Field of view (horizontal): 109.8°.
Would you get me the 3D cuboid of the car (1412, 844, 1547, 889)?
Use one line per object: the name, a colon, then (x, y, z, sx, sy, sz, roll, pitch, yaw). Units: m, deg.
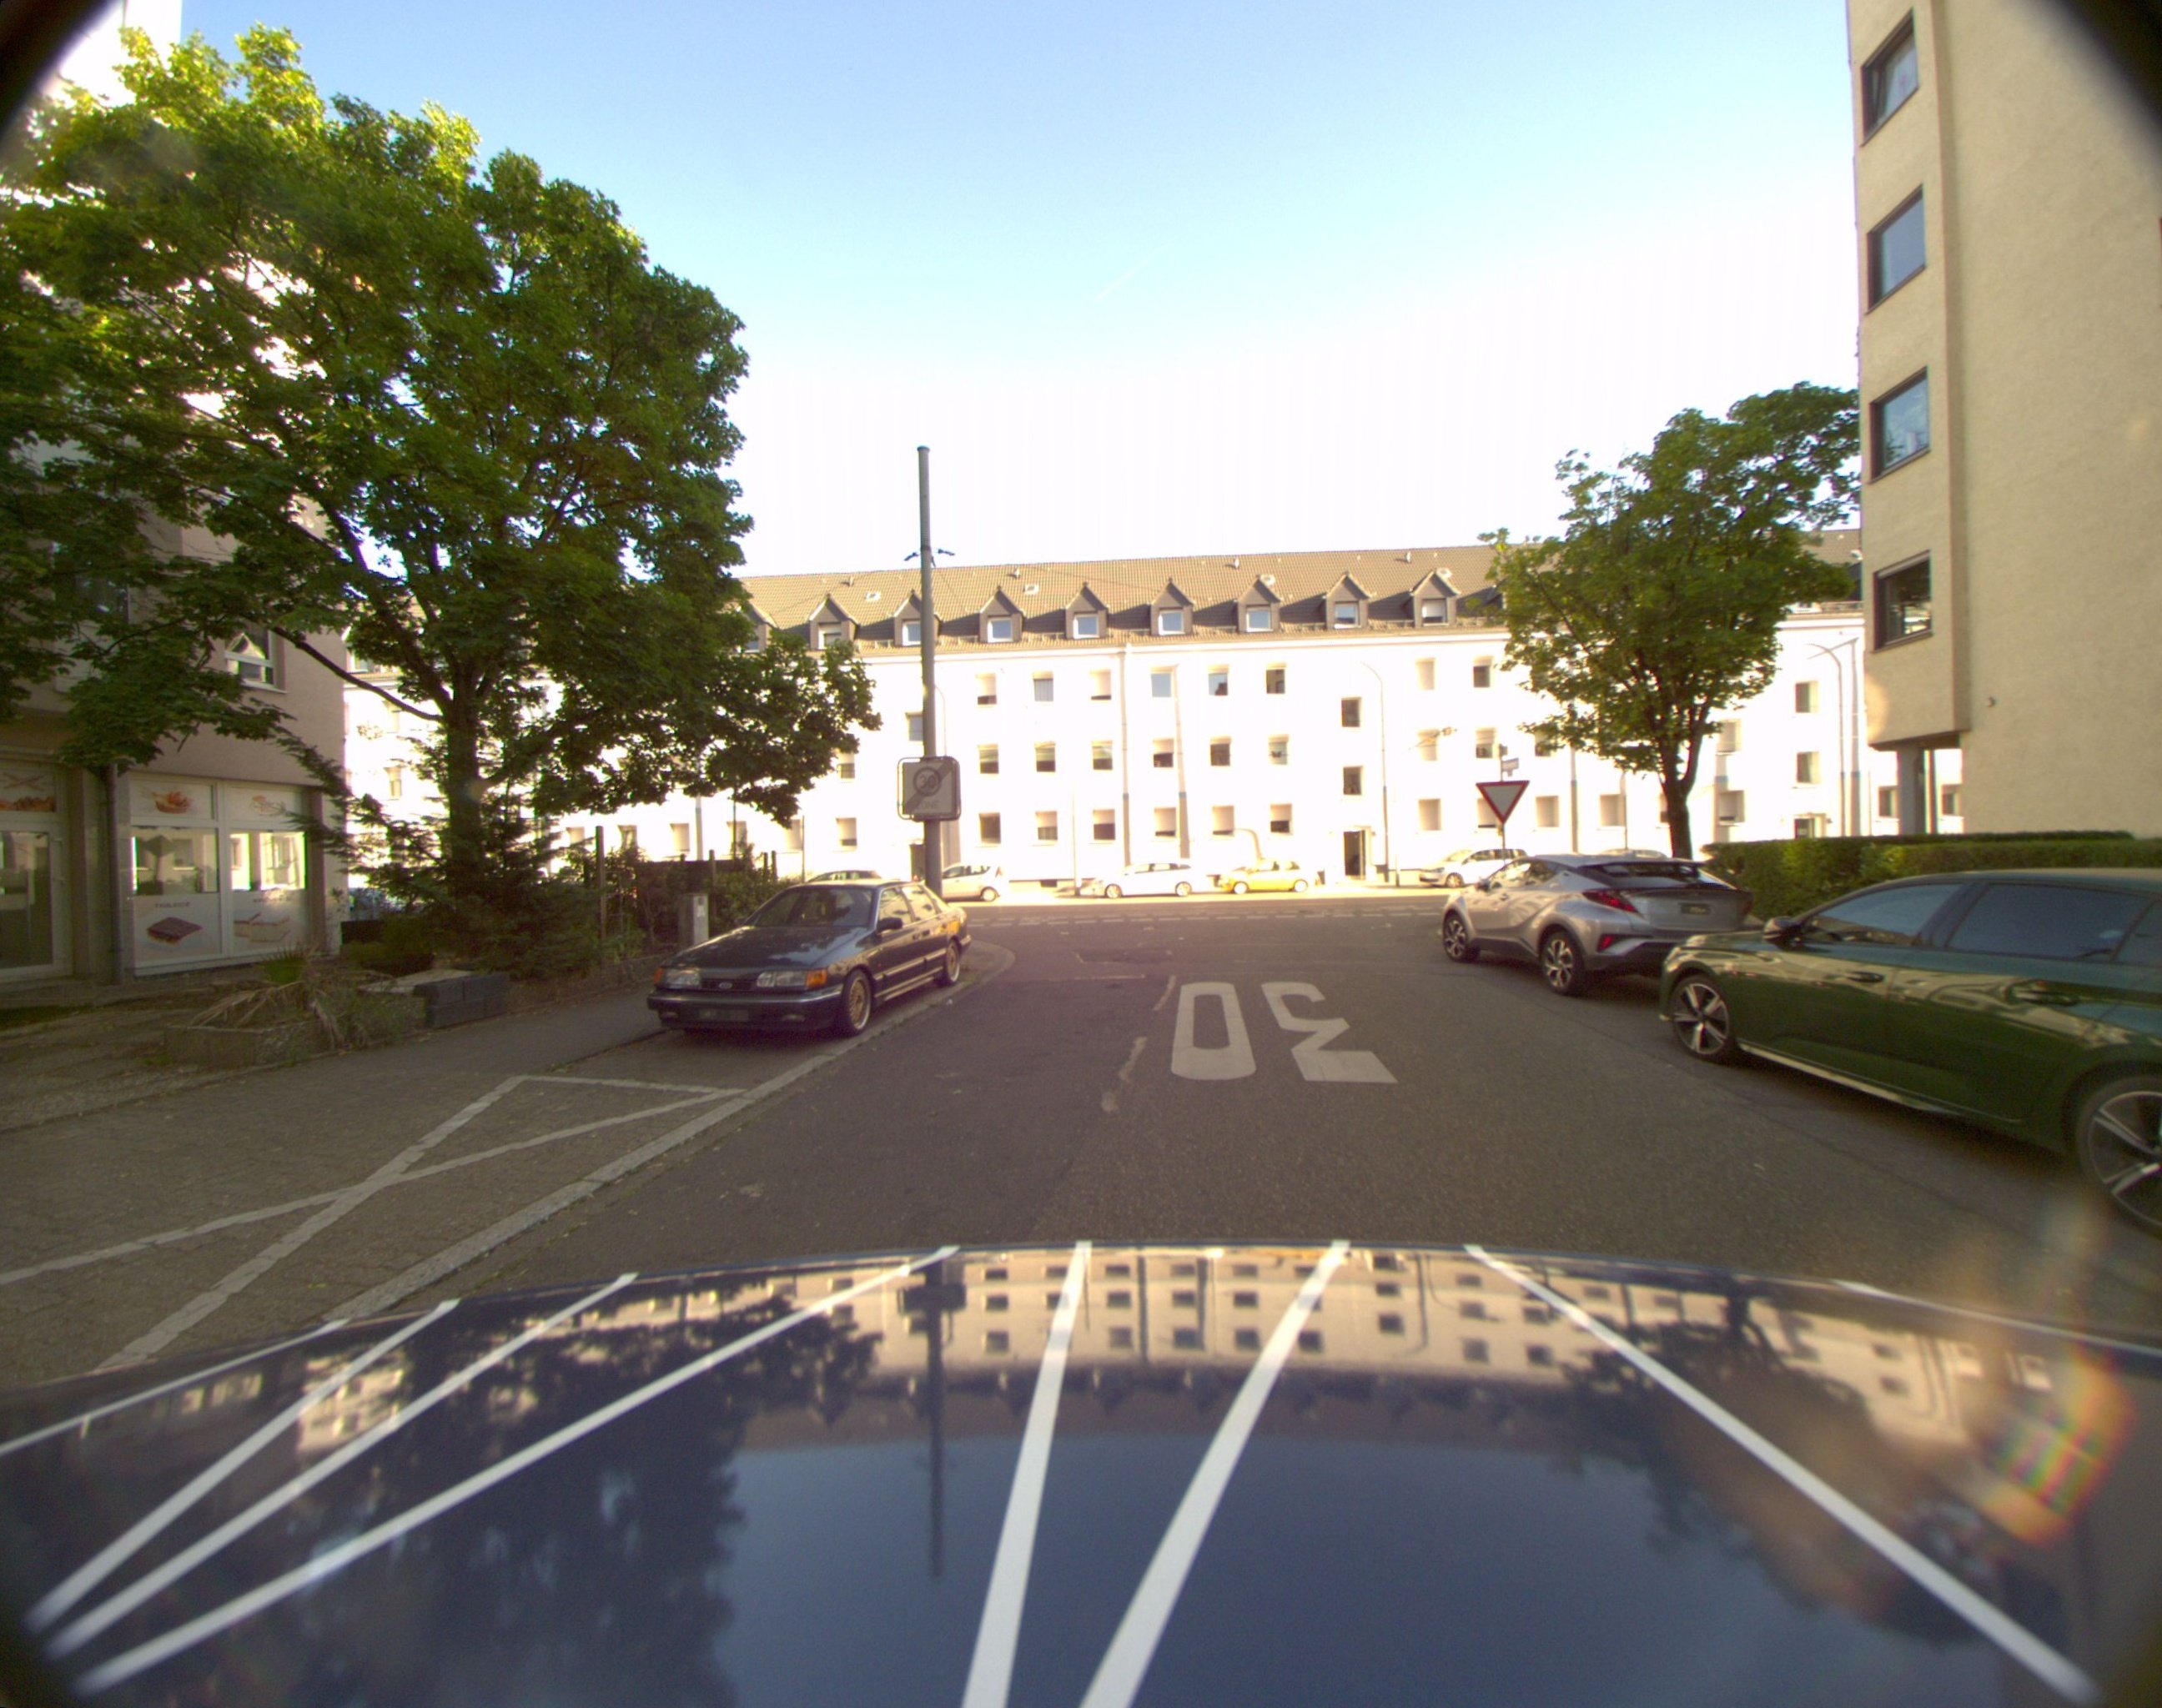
car: (15.832, 0.479, 30.357, 4.282, 1.548, 2.000, -2, 0, 0)

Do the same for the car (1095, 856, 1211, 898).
car: (2.855, 0.916, 30.677, 4.490, 1.498, 1.945, -2, 0, 3)

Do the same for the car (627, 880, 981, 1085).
car: (-2.550, 1.100, 8.342, 1.664, 1.399, 4.510, 1, 1, 9)

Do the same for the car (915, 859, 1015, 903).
car: (-4.652, 1.082, 30.886, 3.704, 1.597, 1.649, -2, 0, 1)

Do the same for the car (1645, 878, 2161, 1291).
car: (5.089, 0.931, 3.842, 1.769, 1.444, 4.210, 2, 0, 8)

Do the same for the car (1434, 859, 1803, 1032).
car: (5.949, 0.863, 9.128, 1.722, 1.546, 4.074, 0, 0, 4)

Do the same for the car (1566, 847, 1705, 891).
car: (21.736, 0.579, 29.906, 4.071, 1.675, 1.923, 0, 0, 0)

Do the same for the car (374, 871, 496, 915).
car: (-28.785, 1.713, 33.938, 3.996, 1.770, 1.695, -2, 0, 3)

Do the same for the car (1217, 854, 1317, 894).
car: (7.429, 0.795, 30.554, 3.611, 1.440, 1.554, -2, 1, 1)

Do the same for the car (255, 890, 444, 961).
car: (-16.322, 1.566, 17.041, 2.879, 1.348, 1.262, -2, 1, -2)

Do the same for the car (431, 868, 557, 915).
car: (-24.548, 1.546, 31.865, 3.996, 1.770, 1.695, -2, 0, 3)

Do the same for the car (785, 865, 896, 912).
car: (-9.794, 1.387, 31.150, 3.875, 1.498, 1.649, -5, 0, 1)
